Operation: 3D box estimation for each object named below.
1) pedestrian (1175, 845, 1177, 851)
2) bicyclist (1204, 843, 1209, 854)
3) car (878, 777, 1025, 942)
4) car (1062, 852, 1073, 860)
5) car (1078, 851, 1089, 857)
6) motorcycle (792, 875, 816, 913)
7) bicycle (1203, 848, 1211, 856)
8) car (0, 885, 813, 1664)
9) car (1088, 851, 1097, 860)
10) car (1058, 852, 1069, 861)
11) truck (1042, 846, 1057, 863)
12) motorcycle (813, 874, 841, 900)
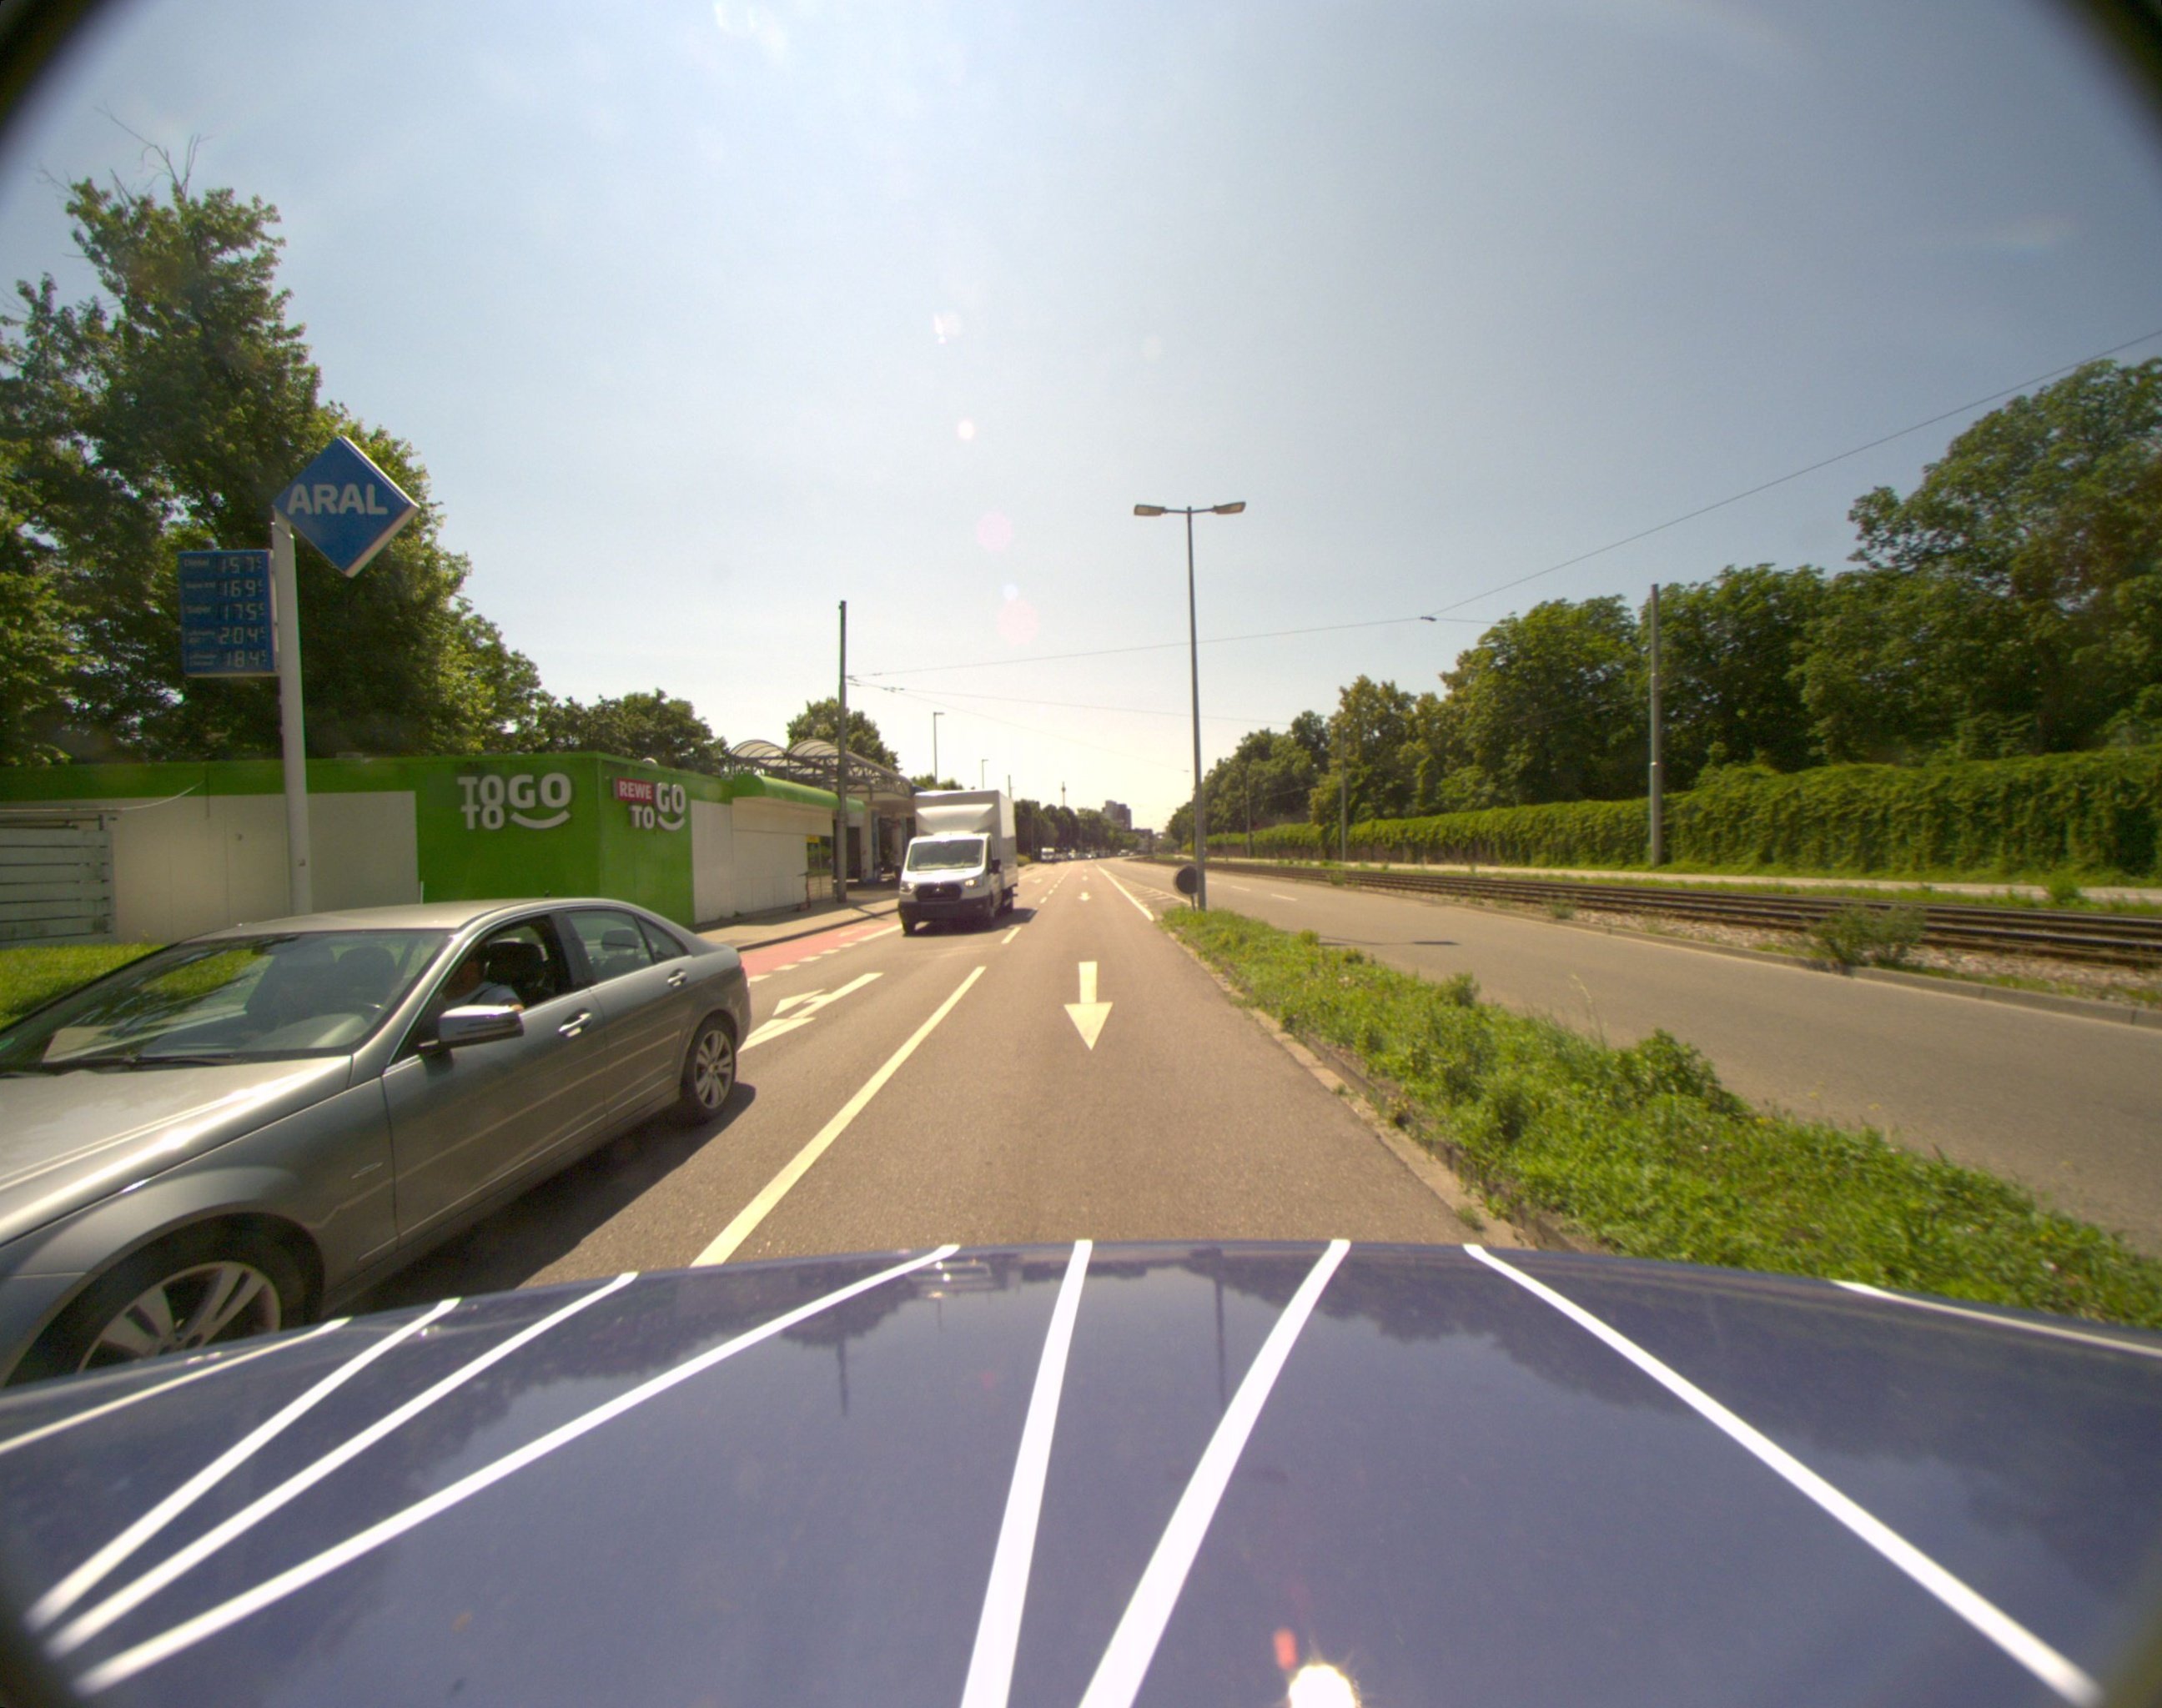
[{"bbox_3d":[28.084,-1.846,225.058,0.453,1.655,0.302,-2,1,0],"label":"pedestrian"},{"bbox_3d":[17.573,-0.781,106.108,0.483,1.603,0.769,-3,1,0],"label":"bicyclist"},{"bbox_3d":[-3.004,0.107,20.093,2.229,3.316,8.635,-3,0,0],"label":"car"},{"bbox_3d":[-2.720,0.443,156.196,1.912,1.488,4.000,-3,1,3],"label":"car"},{"bbox_3d":[0.665,0.030,191.967,1.911,1.488,4.002,-3,1,9],"label":"car"},{"bbox_3d":[-8.582,1.228,23.561,0.253,1.099,1.117,4,1,0],"label":"motorcycle"},{"bbox_3d":[17.608,-0.287,106.193,0.618,1.049,1.978,-3,1,0],"label":"bicycle"},{"bbox_3d":[-3.156,1.036,3.626,1.717,1.464,5.302,-4,0,1],"label":"car"},{"bbox_3d":[2.593,0.298,170.078,1.946,1.674,4.000,-3,1,3],"label":"car"},{"bbox_3d":[-3.367,0.465,147.187,1.912,1.488,4.000,-3,1,3],"label":"car"},{"bbox_3d":[-5.050,0.043,122.092,1.998,2.462,5.236,-3,1,1],"label":"truck"},{"bbox_3d":[-11.662,1.511,34.884,1.157,1.203,0.364,0,0,-2],"label":"motorcycle"}]
